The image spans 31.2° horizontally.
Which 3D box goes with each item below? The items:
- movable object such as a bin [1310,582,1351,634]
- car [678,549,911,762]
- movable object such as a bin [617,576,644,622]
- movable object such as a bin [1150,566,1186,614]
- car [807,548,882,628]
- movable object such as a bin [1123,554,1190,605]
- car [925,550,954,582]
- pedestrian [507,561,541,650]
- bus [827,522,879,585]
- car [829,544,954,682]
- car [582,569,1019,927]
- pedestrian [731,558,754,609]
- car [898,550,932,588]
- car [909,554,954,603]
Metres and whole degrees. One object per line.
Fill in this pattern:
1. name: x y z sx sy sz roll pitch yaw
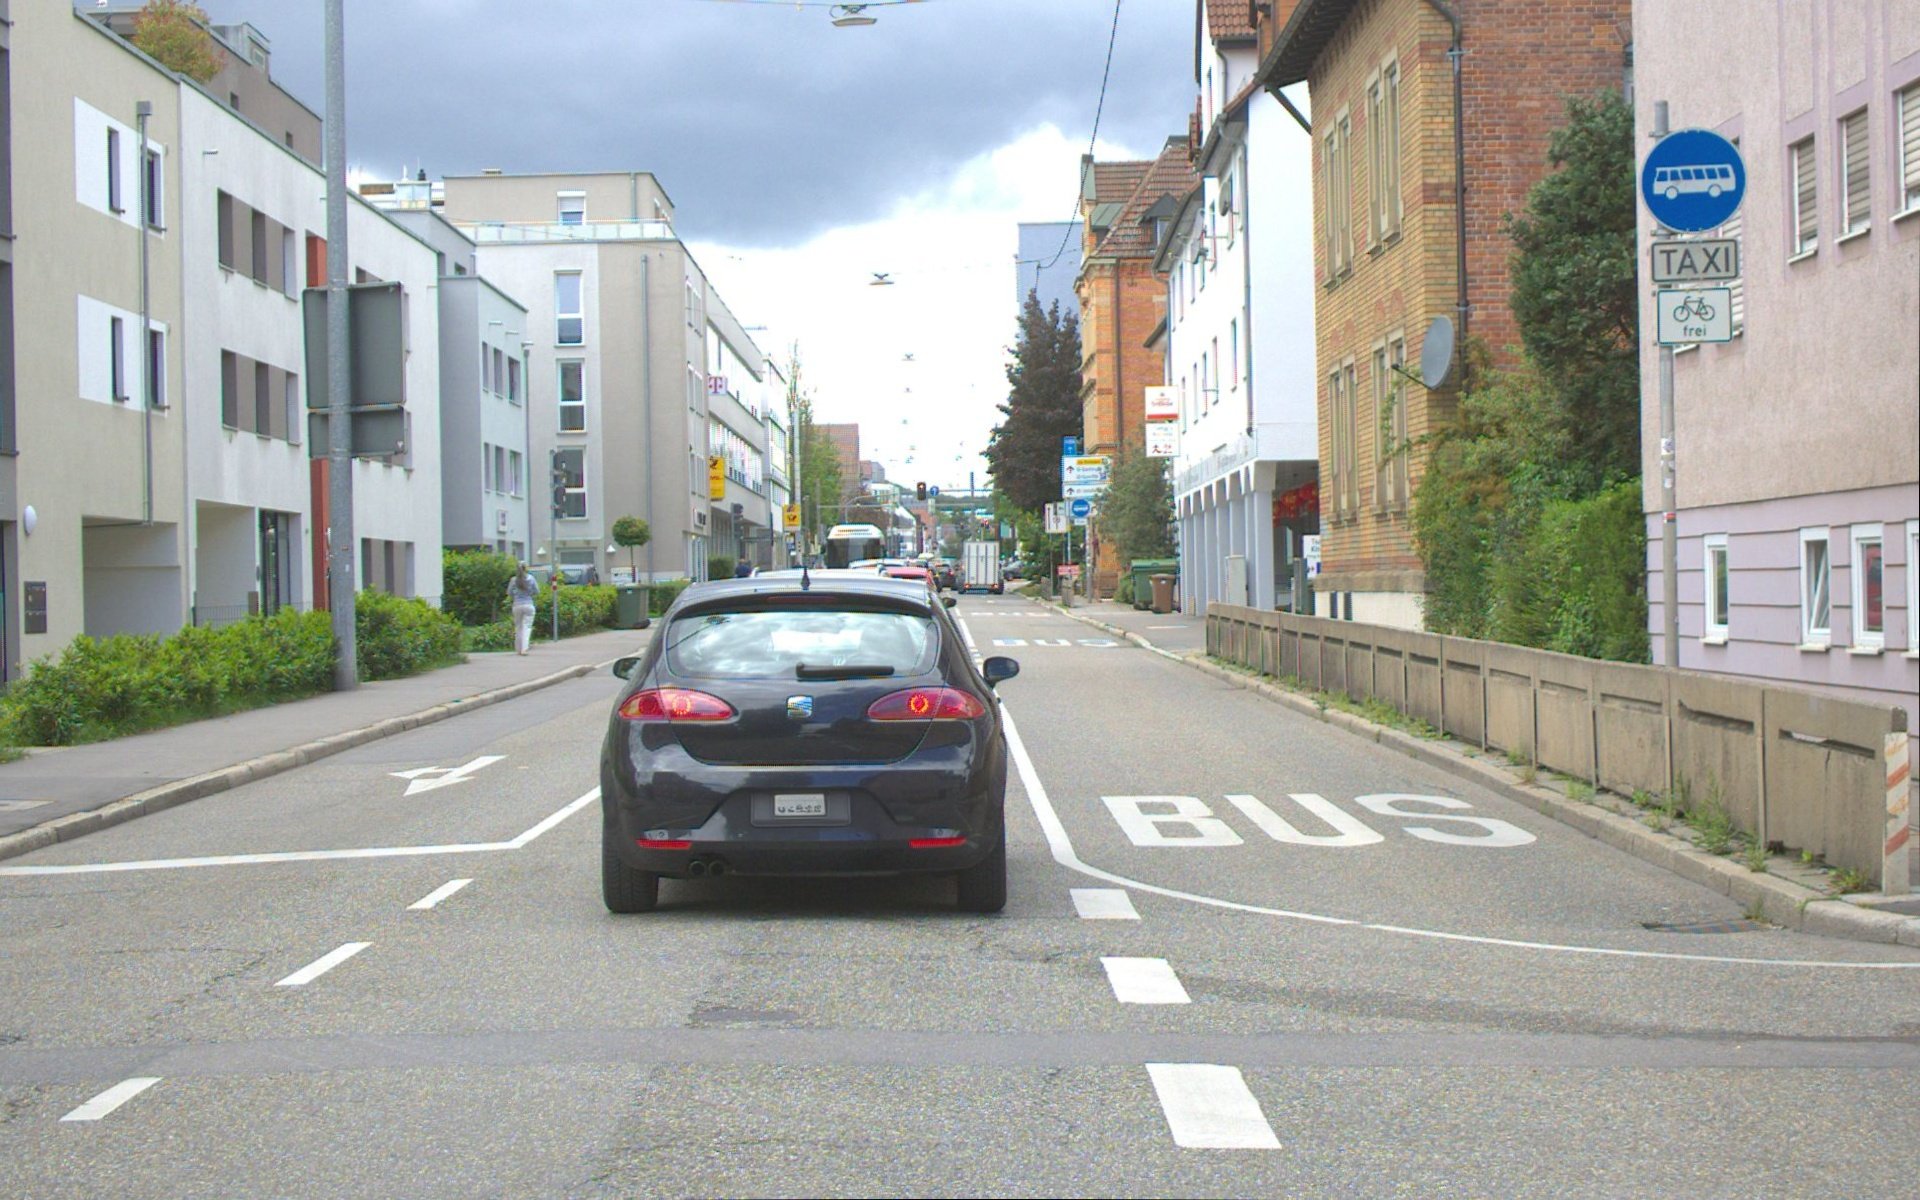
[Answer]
1. movable object such as a bin: 5.956 0.132 55.282 0.592 0.837 0.458 0 0 0
2. car: -1.341 0.430 29.292 1.842 1.687 4.000 0 0 -1
3. movable object such as a bin: -7.749 -0.019 80.858 0.549 1.075 0.612 0 0 1
4. movable object such as a bin: 5.663 -0.272 93.587 0.928 1.279 0.883 0 0 1
5. car: -2.472 -0.262 74.011 1.531 1.687 3.693 0 0 -1
6. movable object such as a bin: 5.591 -0.588 98.051 1.818 1.432 1.993 0 0 1
7. car: -1.121 -1.832 186.848 1.531 1.687 3.693 -1 1 -1
8. pedestrian: -7.560 0.098 59.671 0.526 1.542 0.541 0 0 0
9. bus: -5.023 -2.145 161.951 2.210 2.876 8.920 0 0 0
10. car: -0.867 0.150 44.171 1.531 1.687 3.693 0 0 -1
11. car: -0.656 0.587 15.842 1.759 1.437 4.000 0 0 0
12. pedestrian: -7.333 -0.570 116.137 0.730 1.723 0.859 0 0 -1
13. car: -2.085 -1.452 160.151 1.531 1.687 3.693 -1 1 -1
14. car: -0.984 -0.741 118.855 1.531 1.687 3.693 0 0 -1
